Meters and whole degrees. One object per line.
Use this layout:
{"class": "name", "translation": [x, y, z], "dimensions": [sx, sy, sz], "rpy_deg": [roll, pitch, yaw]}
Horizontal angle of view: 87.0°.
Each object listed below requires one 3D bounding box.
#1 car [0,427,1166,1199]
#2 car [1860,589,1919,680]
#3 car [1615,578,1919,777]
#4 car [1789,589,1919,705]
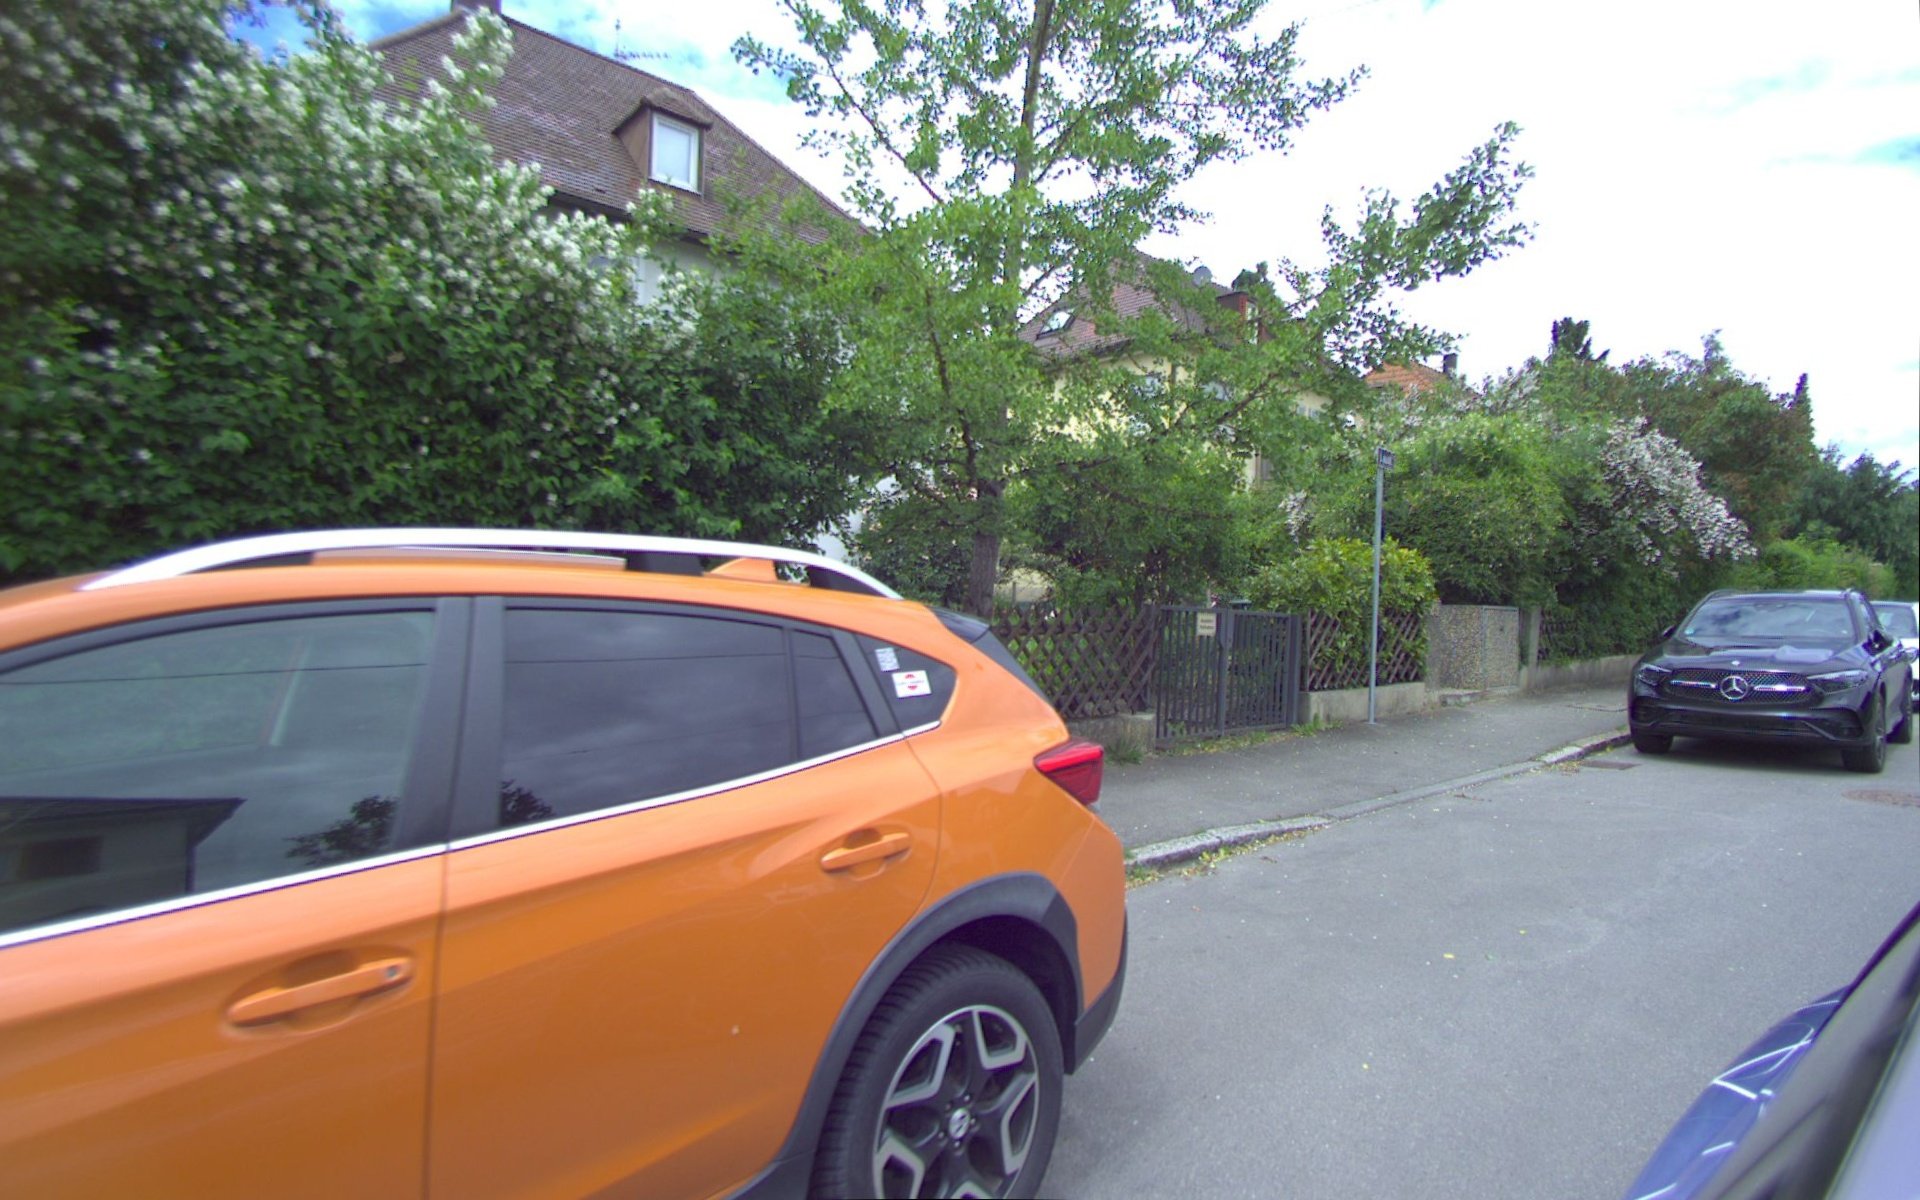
{"class": "car", "translation": [-1.602, 0.614, 1.957], "dimensions": [4.097, 1.647, 1.853], "rpy_deg": [0, 0, -42]}
{"class": "car", "translation": [18.814, 0.639, 19.305], "dimensions": [4.066, 1.612, 1.805], "rpy_deg": [0, 1, -39]}
{"class": "car", "translation": [8.592, 0.622, 10.565], "dimensions": [4.302, 1.647, 1.952], "rpy_deg": [0, 1, -43]}
{"class": "car", "translation": [13.742, 0.659, 15.073], "dimensions": [2.959, 1.529, 1.602], "rpy_deg": [1, 1, -40]}
